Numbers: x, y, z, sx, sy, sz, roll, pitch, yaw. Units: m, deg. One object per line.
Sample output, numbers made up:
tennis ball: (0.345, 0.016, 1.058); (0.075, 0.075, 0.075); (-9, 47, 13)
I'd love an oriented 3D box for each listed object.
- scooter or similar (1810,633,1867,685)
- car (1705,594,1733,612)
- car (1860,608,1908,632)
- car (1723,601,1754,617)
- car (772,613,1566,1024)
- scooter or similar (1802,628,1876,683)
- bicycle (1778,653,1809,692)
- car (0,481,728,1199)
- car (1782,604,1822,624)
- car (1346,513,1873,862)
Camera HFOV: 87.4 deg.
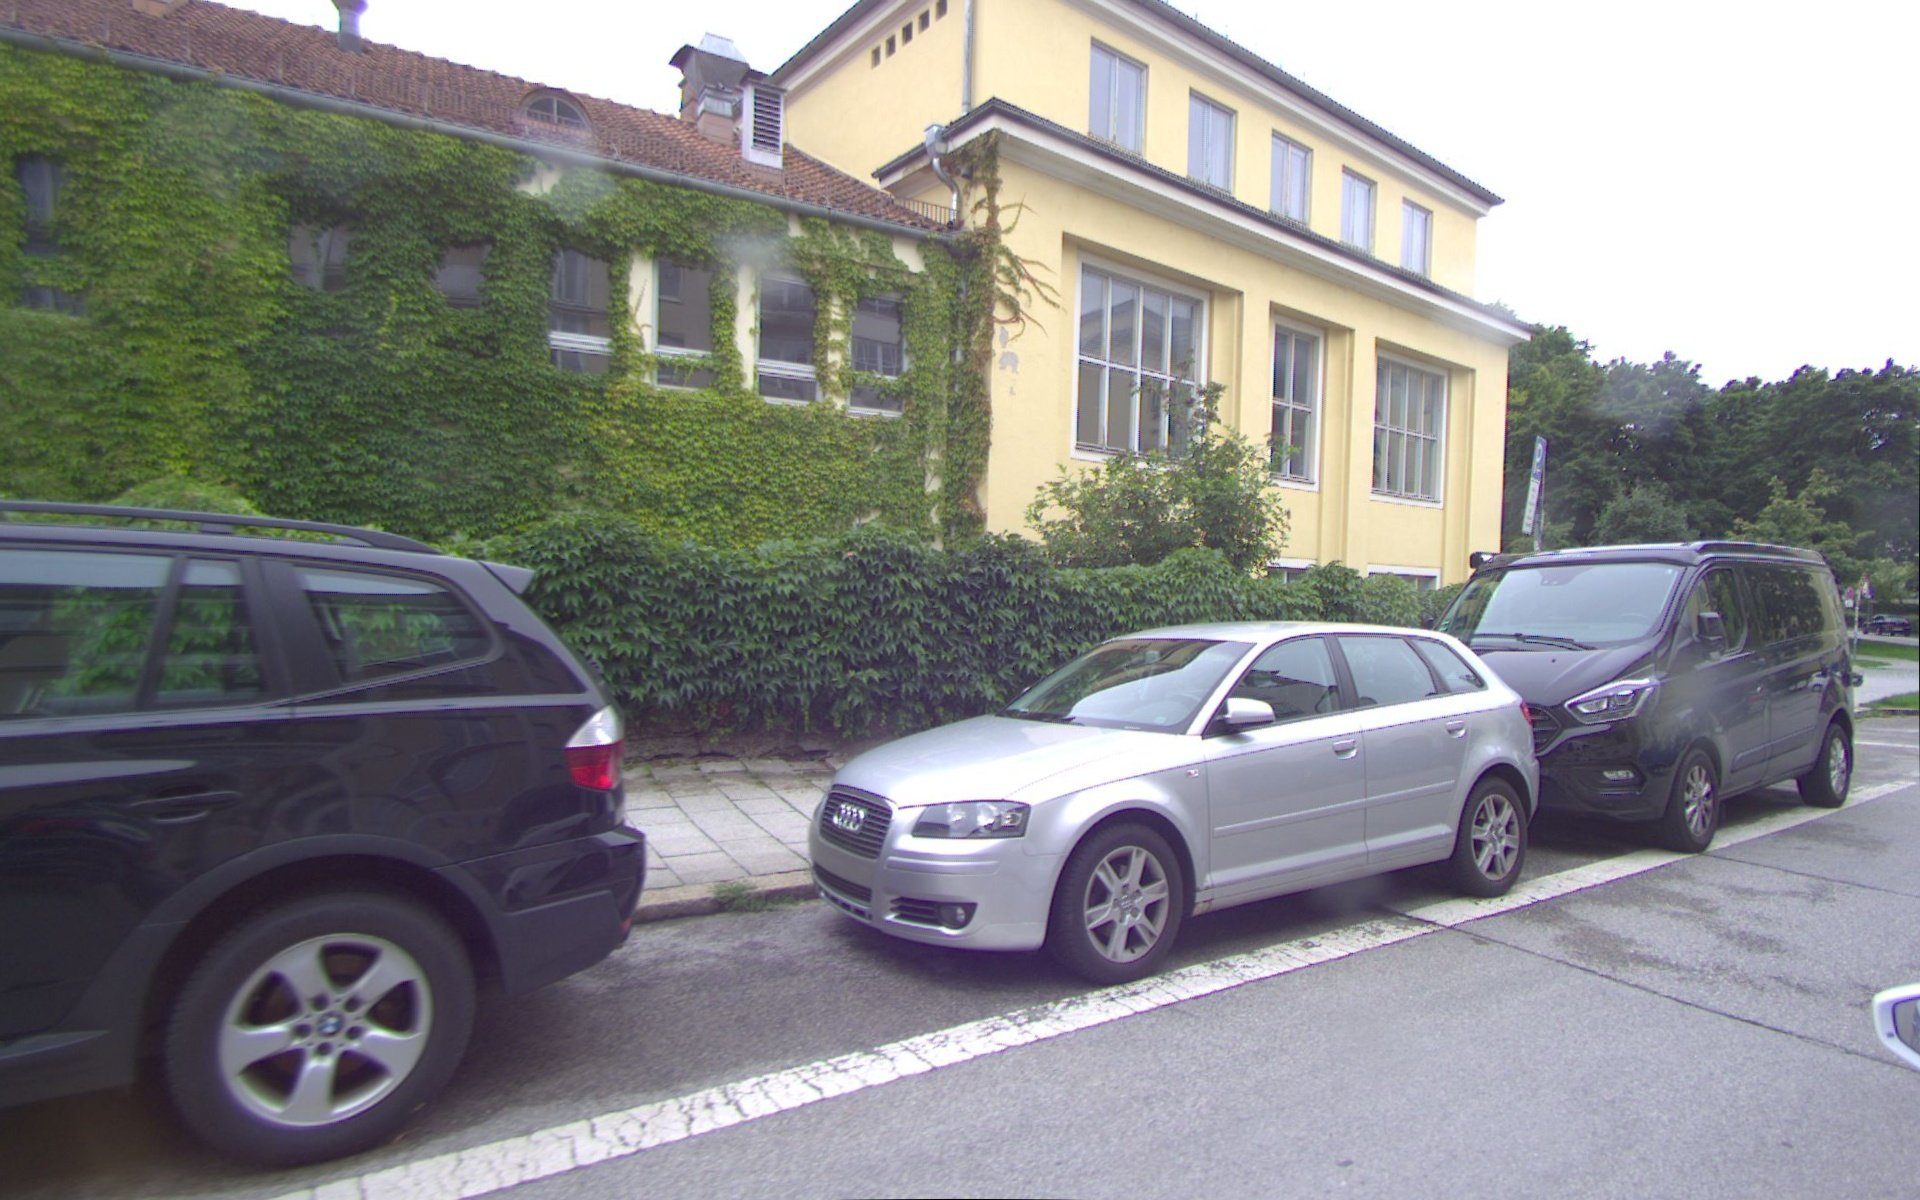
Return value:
scooter or similar: (21.857, 1.458, 24.990); (1.033, 1.228, 0.439); (3, 0, -6)
car: (90.520, 0.320, 119.862); (2.036, 1.992, 4.966); (2, 1, 31)
car: (64.591, 1.365, 70.258); (1.622, 1.579, 3.552); (1, 1, 30)
car: (86.214, 0.955, 111.298); (1.963, 1.622, 4.248); (2, 1, 27)
car: (1.204, 0.801, 5.223); (3.956, 1.383, 1.698); (0, -3, -32)
scooter or similar: (21.340, 1.339, 24.411); (0.389, 1.260, 1.256); (3, 0, -25)
bicycle: (20.334, 1.758, 24.517); (0.427, 0.905, 1.327); (2, -1, 33)
car: (-3.041, 0.570, 2.688); (4.439, 1.627, 1.694); (1, -2, -31)
car: (73.561, 1.208, 87.827); (1.765, 1.702, 3.995); (1, 1, 27)
car: (5.243, 0.541, 7.897); (4.576, 2.005, 1.913); (0, -2, -35)
